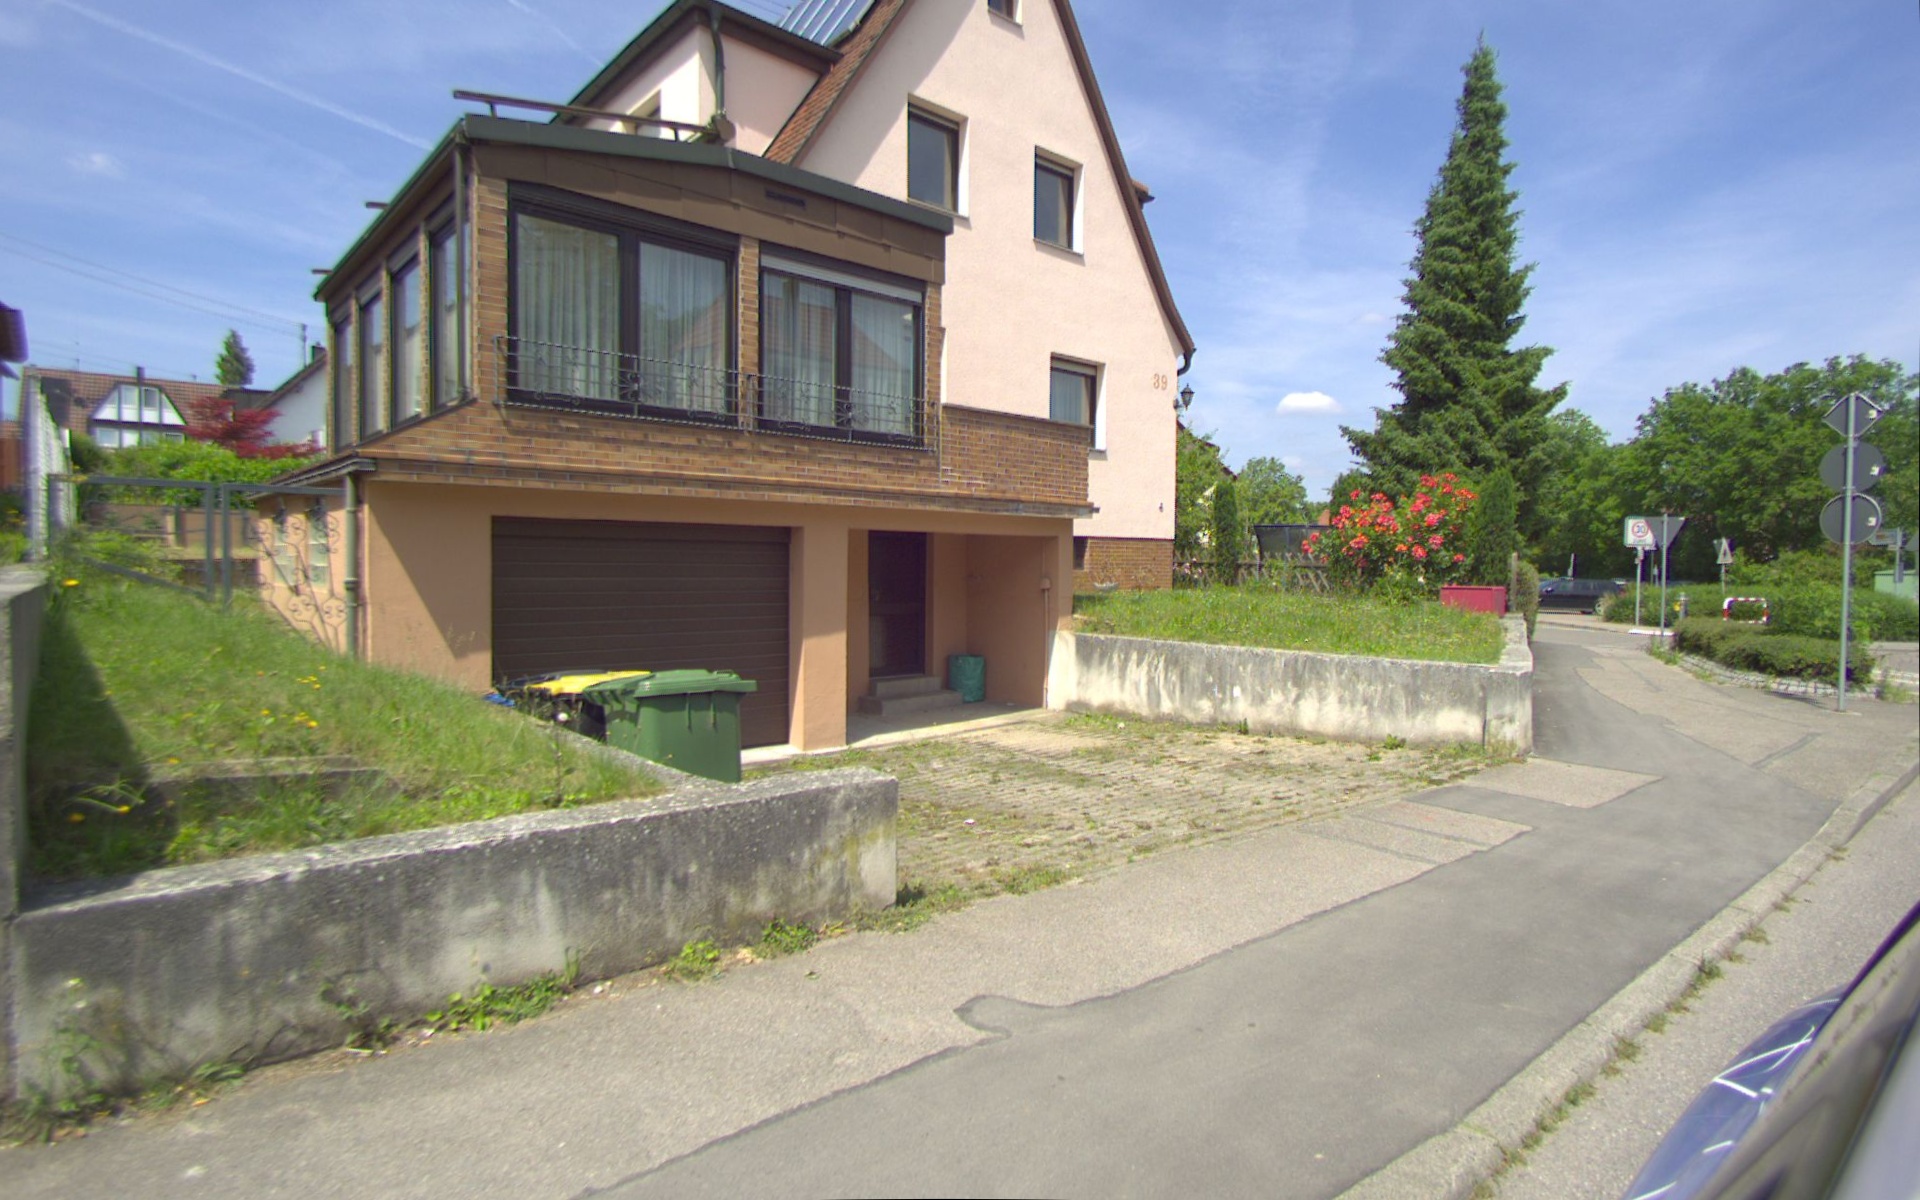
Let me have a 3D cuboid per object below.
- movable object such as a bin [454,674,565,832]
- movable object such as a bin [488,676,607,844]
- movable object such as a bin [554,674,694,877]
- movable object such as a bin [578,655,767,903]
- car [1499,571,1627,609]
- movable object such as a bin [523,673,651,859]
[{"bbox_3d":[-3.025,0.996,6.795,0.553,0.964,0.529,0,-3,-40],"label":"movable object such as a bin"},{"bbox_3d":[-2.615,0.981,6.403,0.553,0.964,0.529,0,-4,-40],"label":"movable object such as a bin"},{"bbox_3d":[-1.847,0.927,5.556,0.553,1.003,0.529,0,-5,-40],"label":"movable object such as a bin"},{"bbox_3d":[-1.441,0.840,5.066,0.721,1.093,0.584,0,-3,-41],"label":"movable object such as a bin"},{"bbox_3d":[24.750,-0.424,41.645,4.219,1.416,1.396,2,2,12],"label":"car"},{"bbox_3d":[-2.219,0.950,6.012,0.553,1.002,0.529,0,-4,-40],"label":"movable object such as a bin"}]
